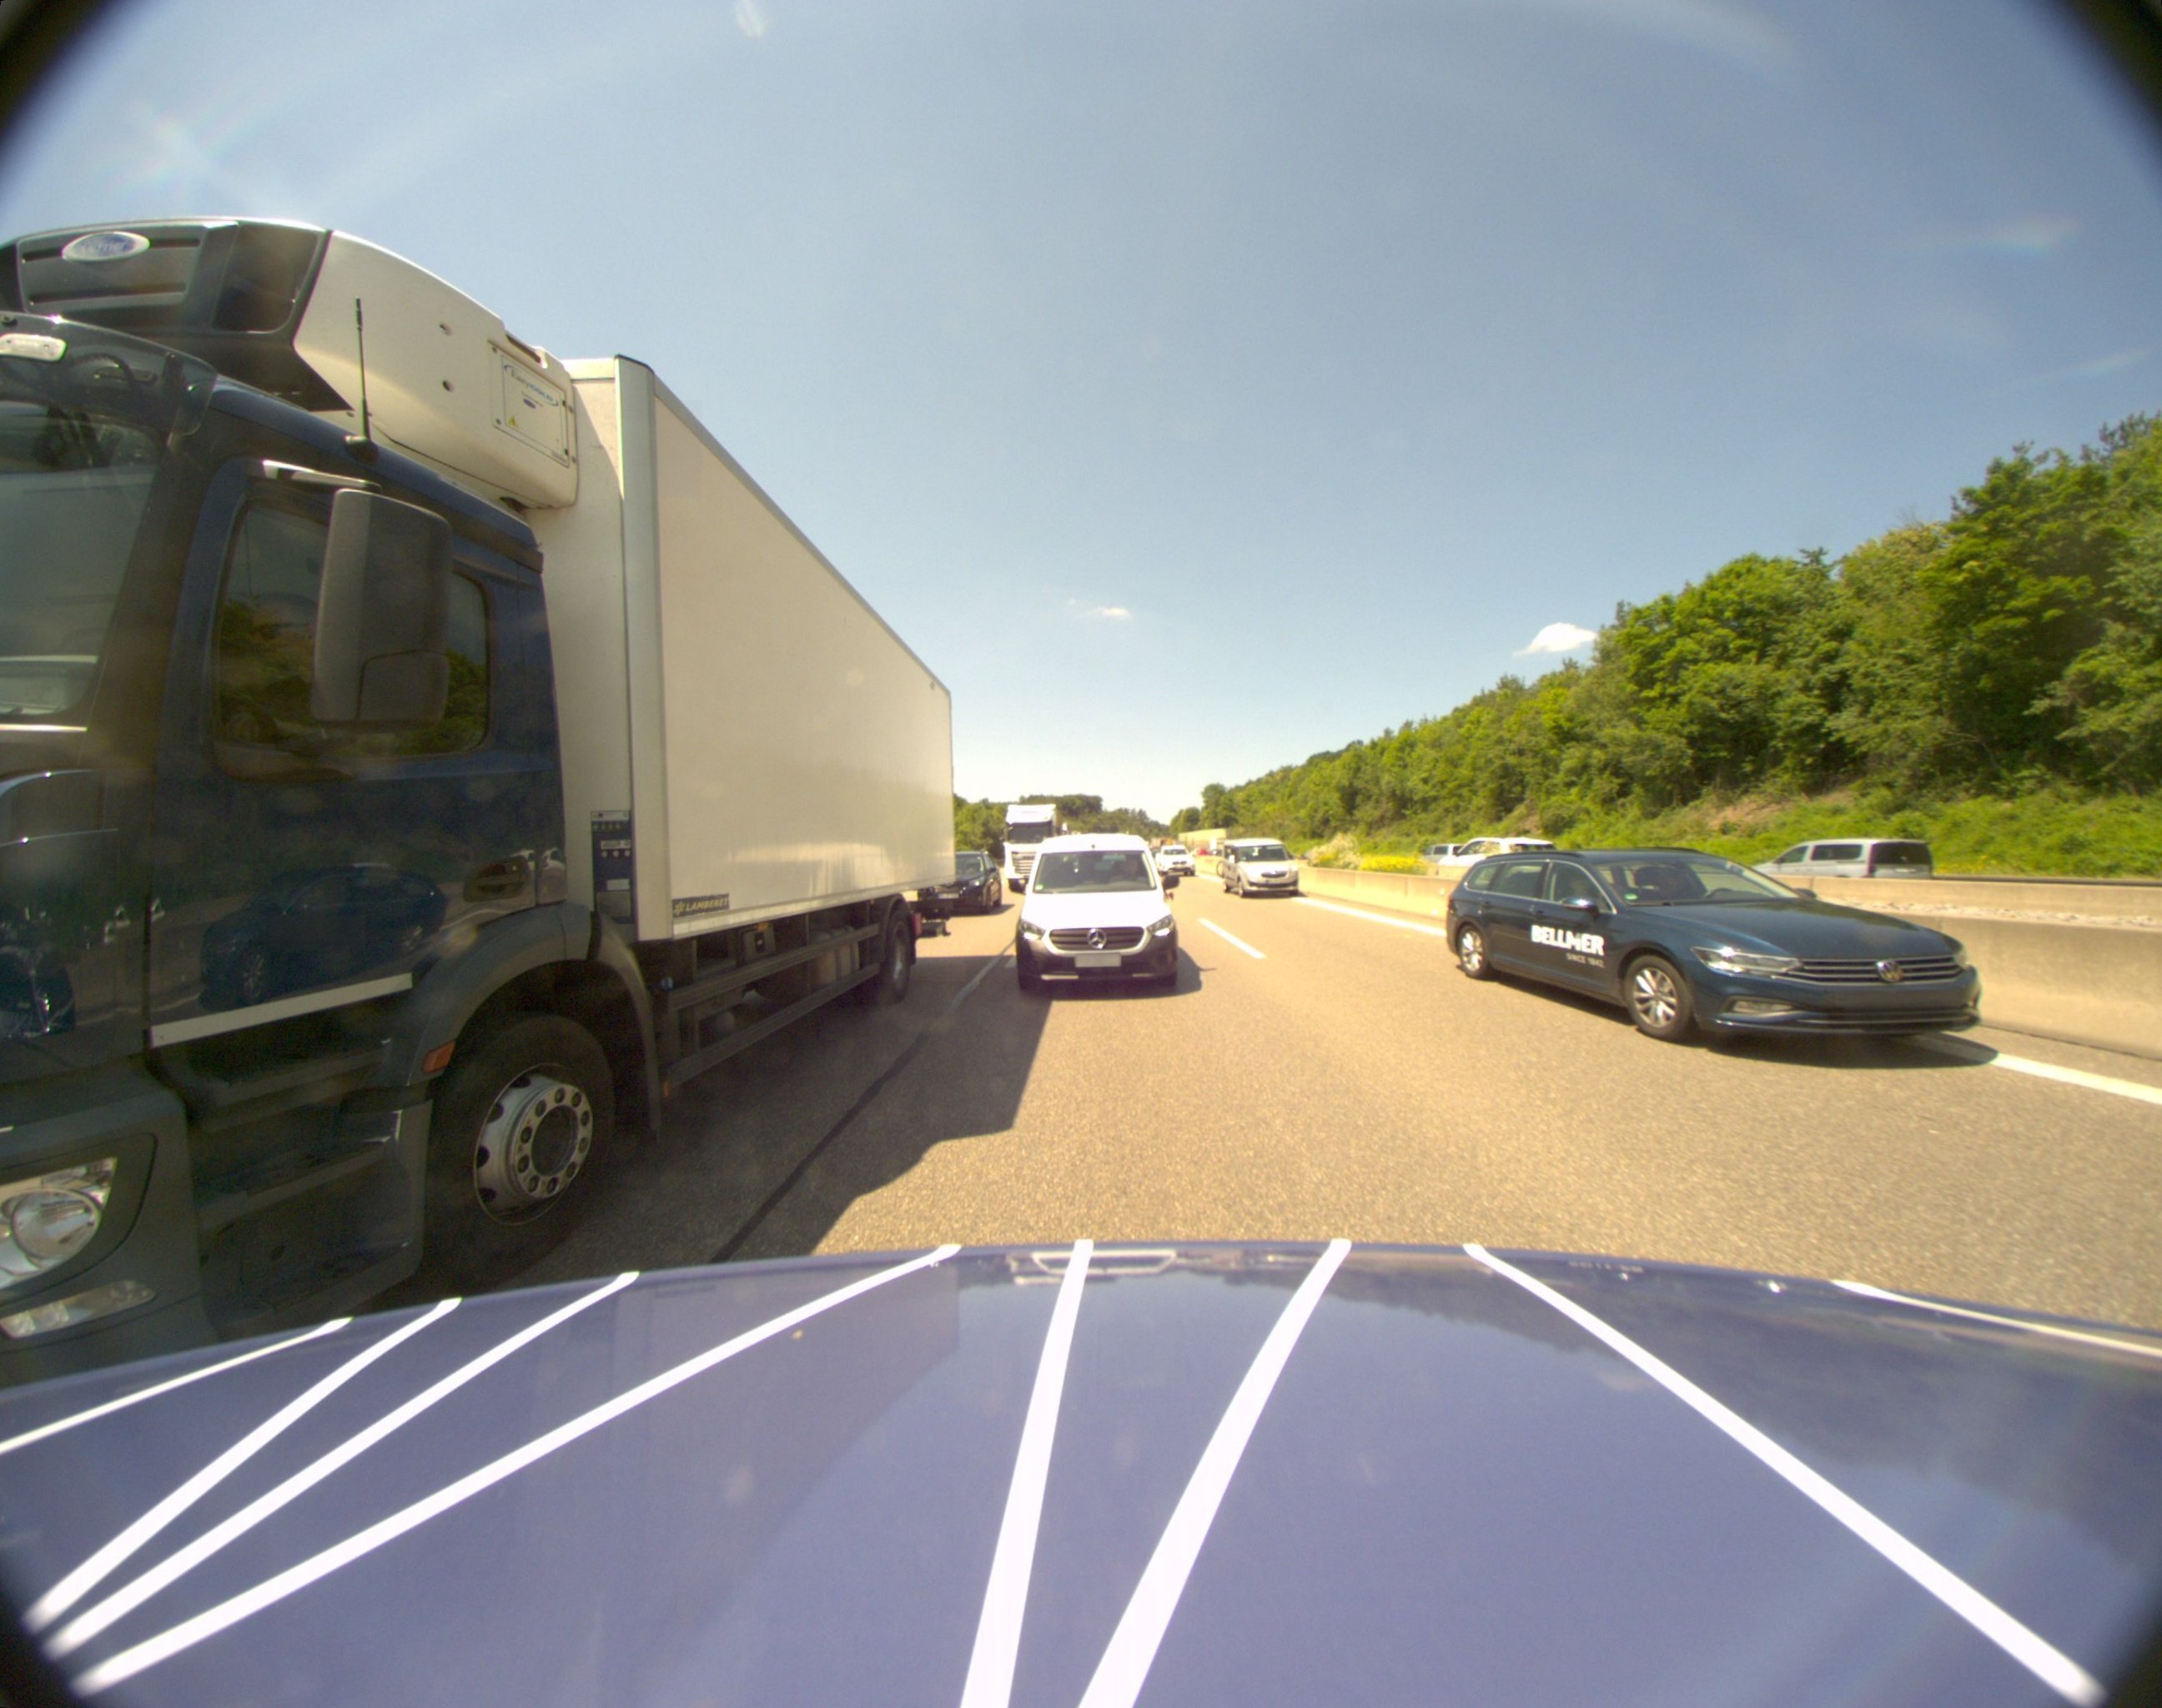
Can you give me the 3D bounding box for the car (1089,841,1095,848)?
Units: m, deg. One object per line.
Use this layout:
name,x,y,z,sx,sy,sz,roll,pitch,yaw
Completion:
car,3.482,-3.032,245.579,1.998,2.003,3.998,-2,2,0

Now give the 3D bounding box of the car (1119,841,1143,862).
car,5.037,-0.286,76.723,1.999,2.002,3.998,-2,2,-1

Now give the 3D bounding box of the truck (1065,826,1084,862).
truck,-0.730,-1.238,98.401,2.187,4.438,10.868,-2,0,0

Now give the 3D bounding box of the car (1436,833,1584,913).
car,12.139,0.442,21.889,1.998,2.002,4.347,-2,2,3

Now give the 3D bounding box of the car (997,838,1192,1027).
car,0.191,0.696,9.262,1.756,1.681,4.363,-2,2,2

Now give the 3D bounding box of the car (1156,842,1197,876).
car,5.329,0.226,42.759,1.824,1.696,3.999,-2,2,1

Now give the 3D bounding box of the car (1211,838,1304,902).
car,5.599,0.413,24.687,1.857,1.763,4.916,-2,2,0

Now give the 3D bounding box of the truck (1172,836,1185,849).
truck,22.672,-2.633,177.194,2.183,2.868,6.740,-2,2,1

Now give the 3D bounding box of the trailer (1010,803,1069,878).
trailer,-2.370,-0.890,47.356,2.766,4.061,11.614,0,2,1

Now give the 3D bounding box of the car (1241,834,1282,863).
car,13.211,-0.455,55.887,1.998,2.002,4.192,-2,2,0

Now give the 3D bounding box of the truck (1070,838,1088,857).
truck,-0.444,-1.637,190.347,4.084,4.403,11.396,-2,0,0

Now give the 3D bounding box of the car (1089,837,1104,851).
car,2.316,-1.494,111.615,1.999,2.002,3.998,-2,2,-1

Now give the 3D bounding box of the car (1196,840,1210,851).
car,21.854,-1.496,136.653,1.857,1.936,4.000,-2,0,0

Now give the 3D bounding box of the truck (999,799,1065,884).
truck,-2.495,-0.717,41.195,2.766,4.061,7.332,-2,2,2

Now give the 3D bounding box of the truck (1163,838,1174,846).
truck,23.401,-3.319,203.705,2.357,2.002,6.490,-2,2,0

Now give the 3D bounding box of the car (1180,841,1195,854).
car,17.640,-1.088,125.526,1.857,1.936,4.000,-2,0,0

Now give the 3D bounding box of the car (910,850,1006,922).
car,-3.295,0.779,21.260,1.999,1.682,4.609,0,2,-1

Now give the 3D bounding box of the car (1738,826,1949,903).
car,22.529,0.220,22.759,1.998,2.002,4.472,-2,2,4

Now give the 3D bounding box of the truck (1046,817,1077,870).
truck,-1.718,-0.933,70.931,2.394,4.438,10.868,-2,0,0

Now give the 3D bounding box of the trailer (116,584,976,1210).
trailer,-3.085,0.182,7.527,2.562,2.882,7.882,-2,1,2

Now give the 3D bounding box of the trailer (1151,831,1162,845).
trailer,25.964,-5.502,261.353,2.956,4.456,10.814,-2,2,1

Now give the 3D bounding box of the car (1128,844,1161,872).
car,4.488,0.248,54.265,1.999,1.747,3.998,-2,2,-1

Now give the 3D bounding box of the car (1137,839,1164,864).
car,5.857,-0.159,64.650,1.998,2.001,4.001,0,-1,2

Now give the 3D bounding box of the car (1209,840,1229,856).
car,17.612,-0.787,97.079,1.998,2.002,3.999,-2,2,2

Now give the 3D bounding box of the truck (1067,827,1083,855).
truck,-0.857,-1.915,117.919,2.187,4.073,10.868,-2,0,0

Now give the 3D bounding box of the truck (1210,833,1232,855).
truck,25.801,-1.918,140.707,2.699,3.967,7.988,-2,2,1

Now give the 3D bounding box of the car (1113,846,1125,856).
car,6.520,-0.452,130.863,1.803,1.660,4.000,-2,0,0

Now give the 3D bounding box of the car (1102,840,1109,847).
car,8.278,-3.490,255.332,1.998,2.002,3.998,-2,2,0

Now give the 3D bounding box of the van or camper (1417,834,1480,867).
van or camper,24.092,-0.283,50.013,1.998,2.002,4.680,-2,2,2

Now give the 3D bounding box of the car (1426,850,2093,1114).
car,5.070,0.754,6.833,1.879,1.442,4.677,-2,1,1

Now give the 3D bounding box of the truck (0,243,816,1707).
truck,-3.251,0.261,3.279,2.562,2.924,4.103,-1,2,2
